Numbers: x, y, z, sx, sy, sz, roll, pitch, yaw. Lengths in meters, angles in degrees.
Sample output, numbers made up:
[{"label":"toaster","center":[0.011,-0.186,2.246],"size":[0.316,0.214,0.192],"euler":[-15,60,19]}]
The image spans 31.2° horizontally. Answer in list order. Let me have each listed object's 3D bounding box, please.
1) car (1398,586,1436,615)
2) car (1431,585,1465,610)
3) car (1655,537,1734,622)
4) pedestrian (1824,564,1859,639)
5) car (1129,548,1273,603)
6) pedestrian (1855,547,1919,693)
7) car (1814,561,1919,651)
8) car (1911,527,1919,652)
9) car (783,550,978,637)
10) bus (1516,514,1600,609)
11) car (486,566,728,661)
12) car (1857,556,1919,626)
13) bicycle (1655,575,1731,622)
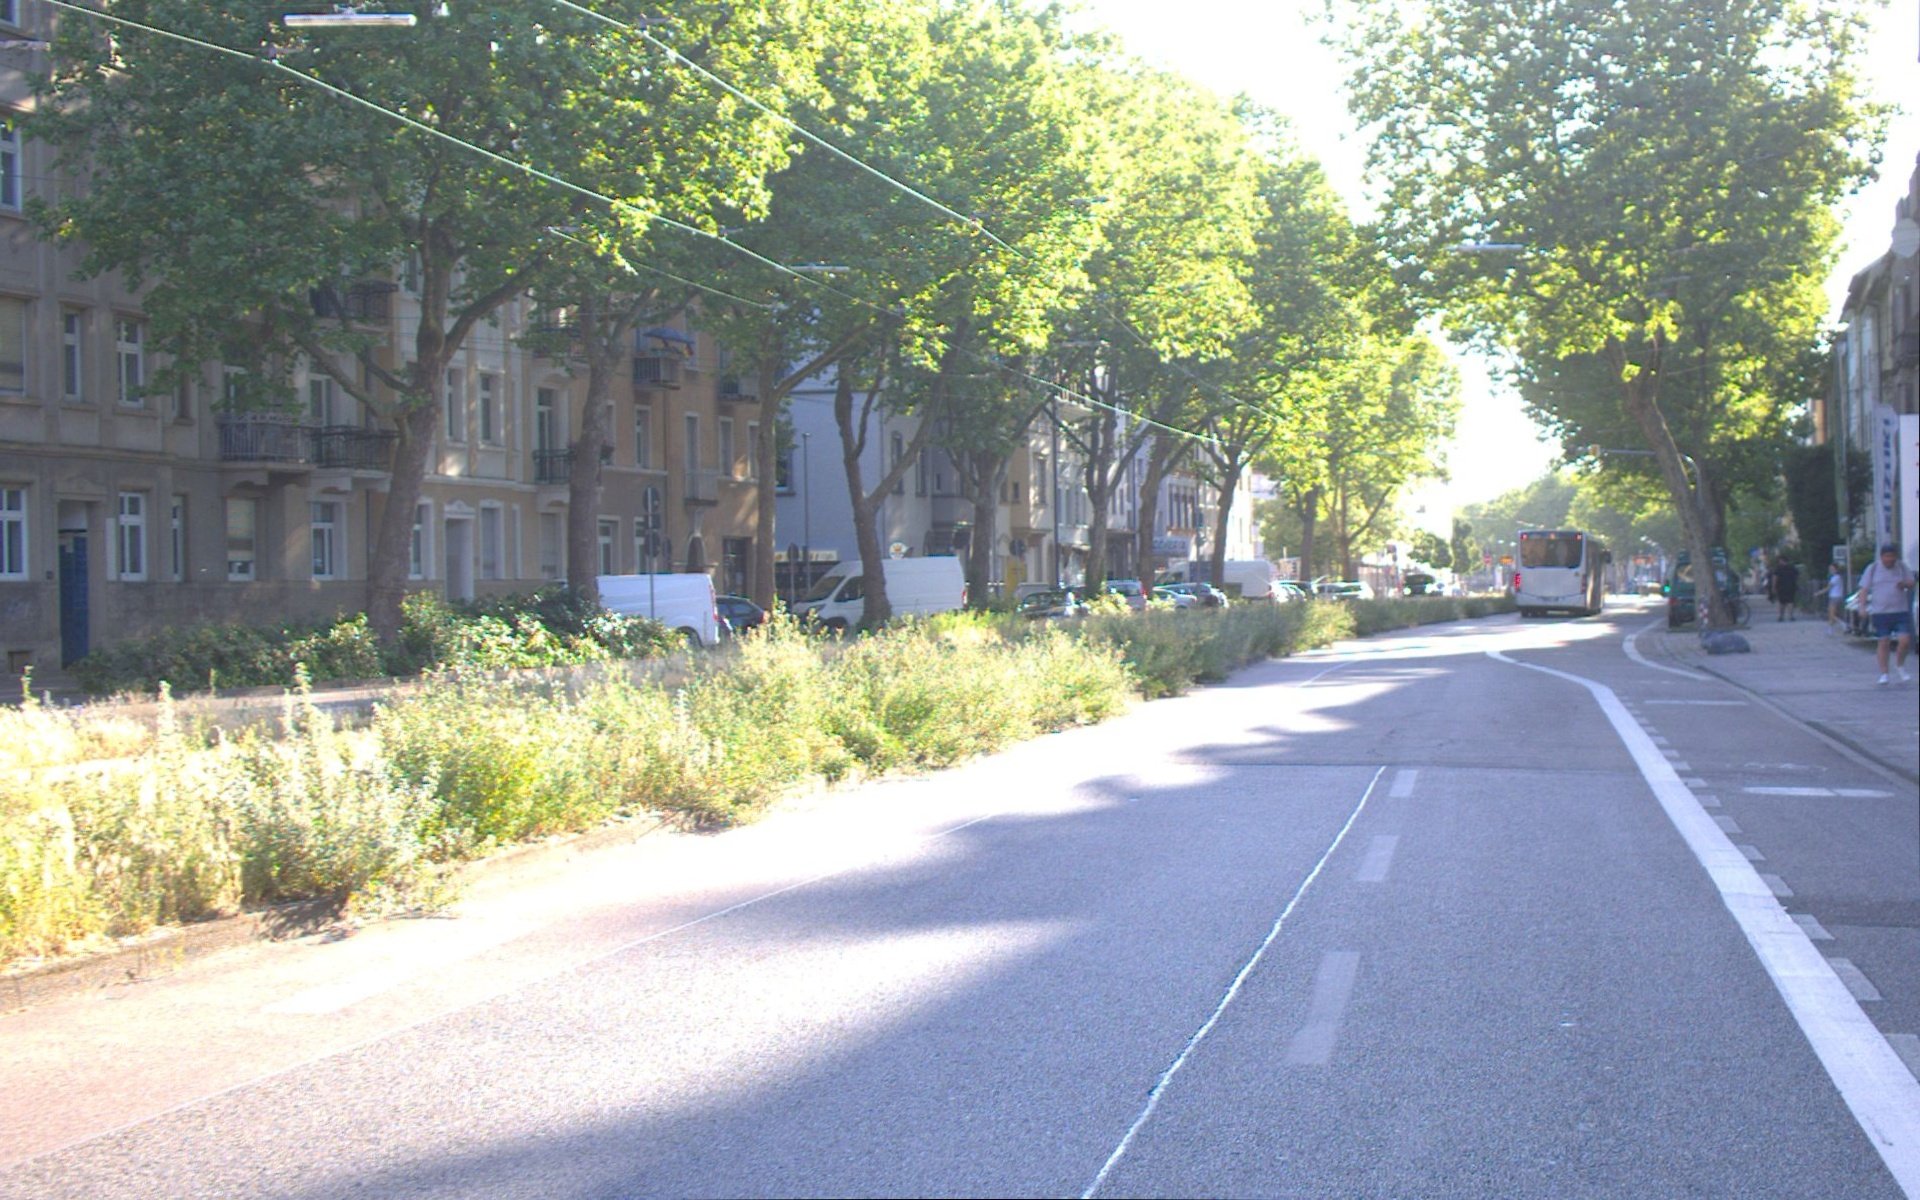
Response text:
[{"label":"car","center":[26.856,0.045,201.980],"size":[1.870,1.688,4.774],"euler":[-1,-1,11]},{"label":"car","center":[31.102,-0.149,218.887],"size":[1.791,1.568,3.998],"euler":[-1,0,13]},{"label":"car","center":[20.208,-0.529,94.775],"size":[1.994,2.249,5.232],"euler":[-1,-1,11]},{"label":"pedestrian","center":[19.382,0.040,75.611],"size":[0.663,1.623,0.922],"euler":[-1,-1,12]},{"label":"car","center":[12.202,-1.232,174.298],"size":[6.936,2.669,2.186],"euler":[-1,-1,-8]},{"label":"pedestrian","center":[11.764,0.257,43.312],"size":[0.829,1.806,1.150],"euler":[-1,-1,11]},{"label":"car","center":[17.007,0.084,60.090],"size":[3.812,1.496,1.913],"euler":[-1,1,7]},{"label":"car","center":[16.358,-0.164,55.430],"size":[1.894,1.942,4.897],"euler":[-1,-1,15]},{"label":"car","center":[-2.388,-0.202,103.592],"size":[5.490,2.520,2.126],"euler":[-1,0,-30]},{"label":"bus","center":[21.614,-1.332,124.345],"size":[2.834,3.224,8.179],"euler":[-1,-1,10]},{"label":"car","center":[-8.080,0.301,78.862],"size":[5.229,2.059,1.722],"euler":[-1,0,-30]},{"label":"car","center":[22.136,-0.217,77.832],"size":[3.419,1.541,1.442],"euler":[-1,-1,10]},{"label":"bicycle","center":[18.412,-0.036,86.334],"size":[1.845,1.139,0.348],"euler":[-1,-1,12]}]
